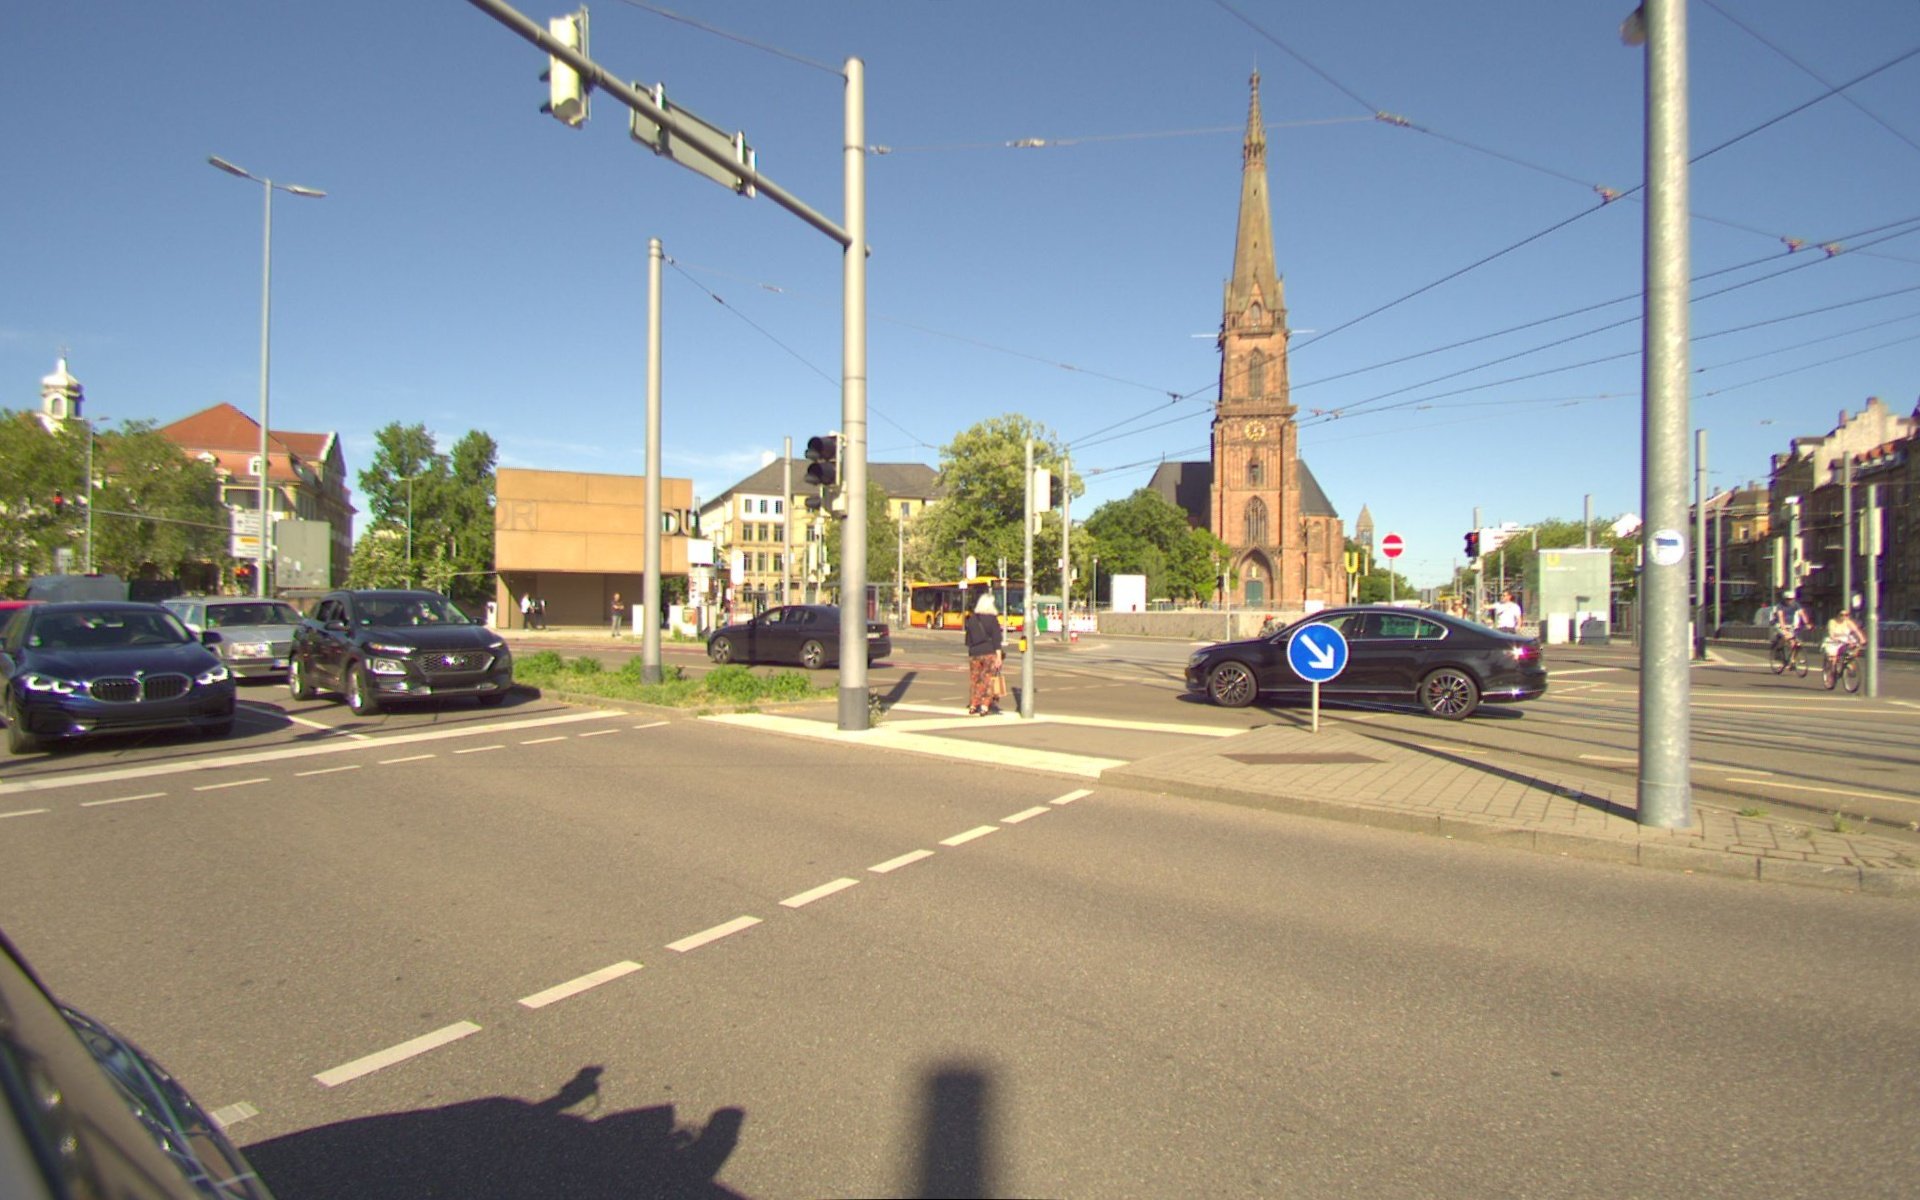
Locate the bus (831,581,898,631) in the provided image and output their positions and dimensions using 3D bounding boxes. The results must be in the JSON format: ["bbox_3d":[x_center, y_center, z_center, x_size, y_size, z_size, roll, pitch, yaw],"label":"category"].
[{"bbox_3d":[-6.368,0.430,66.290,2.104,3.069,8.586,-1,-1,-21],"label":"bus"}]

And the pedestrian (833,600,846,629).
[{"bbox_3d":[-7.898,0.936,66.189,0.679,1.875,0.731,-1,0,-19],"label":"pedestrian"}]

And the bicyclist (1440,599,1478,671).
[{"bbox_3d":[11.034,0.746,22.375,0.576,1.540,0.944,0,1,39],"label":"bicyclist"}]

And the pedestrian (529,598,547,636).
[{"bbox_3d":[-19.932,0.797,47.780,0.634,1.725,0.703,-1,0,-9],"label":"pedestrian"}]

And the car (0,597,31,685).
[{"bbox_3d":[-18.956,0.741,18.804,4.114,1.546,1.739,0,1,36],"label":"car"}]

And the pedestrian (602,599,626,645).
[{"bbox_3d":[-13.999,0.884,41.003,0.844,1.843,0.704,-1,0,-14],"label":"pedestrian"}]

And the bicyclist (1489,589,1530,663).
[{"bbox_3d":[11.879,0.550,21.873,0.595,1.561,0.983,0,-1,39],"label":"bicyclist"}]

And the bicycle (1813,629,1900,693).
[{"bbox_3d":[16.815,1.115,19.034,0.611,1.114,1.713,0,-1,19],"label":"bicycle"}]

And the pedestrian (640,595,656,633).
[{"bbox_3d":[-17.488,0.786,56.748,0.844,2.091,0.612,-1,0,-14],"label":"pedestrian"}]

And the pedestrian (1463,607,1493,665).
[{"bbox_3d":[14.907,1.013,29.119,0.608,1.620,0.705,0,0,41],"label":"pedestrian"}]

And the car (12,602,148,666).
[{"bbox_3d":[-22.520,0.799,25.834,4.655,1.469,1.802,0,1,38],"label":"car"}]

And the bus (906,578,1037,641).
[{"bbox_3d":[0.344,0.361,57.678,2.801,3.144,11.861,-1,2,-24],"label":"bus"}]

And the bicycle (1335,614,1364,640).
[{"bbox_3d":[19.766,1.373,51.364,1.476,1.279,0.366,-1,0,-18],"label":"bicycle"}]

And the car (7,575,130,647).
[{"bbox_3d":[-35.696,0.409,40.488,5.287,2.701,2.220,0,1,32],"label":"car"}]

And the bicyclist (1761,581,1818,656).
[{"bbox_3d":[19.108,0.421,23.330,0.754,1.688,0.790,0,-1,19],"label":"bicyclist"}]

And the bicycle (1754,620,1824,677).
[{"bbox_3d":[19.160,1.090,23.445,0.611,1.266,1.951,0,-1,19],"label":"bicycle"}]

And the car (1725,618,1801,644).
[{"bbox_3d":[44.255,1.685,55.868,1.897,1.371,3.978,-1,-1,16],"label":"car"}]

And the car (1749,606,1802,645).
[{"bbox_3d":[68.493,2.092,85.086,1.985,3.130,4.890,-1,1,20],"label":"car"}]

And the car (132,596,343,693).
[{"bbox_3d":[-12.778,0.694,17.792,4.655,1.469,1.802,0,1,38],"label":"car"}]

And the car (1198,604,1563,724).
[{"bbox_3d":[5.759,0.783,14.035,4.466,1.427,1.832,0,-1,32],"label":"car"}]

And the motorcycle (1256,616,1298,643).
[{"bbox_3d":[15.488,1.420,49.427,2.070,1.263,0.536,-1,0,-23],"label":"motorcycle"}]

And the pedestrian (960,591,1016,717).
[{"bbox_3d":[0.359,0.677,12.988,0.367,1.567,0.645,-1,0,-41],"label":"pedestrian"}]

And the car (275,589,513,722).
[{"bbox_3d":[-7.759,0.644,13.730,3.914,1.543,1.664,0,1,42],"label":"car"}]

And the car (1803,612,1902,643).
[{"bbox_3d":[41.602,1.275,47.302,1.897,1.371,3.978,-1,-1,16],"label":"car"}]

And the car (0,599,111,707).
[{"bbox_3d":[-14.500,0.740,15.464,4.010,1.469,1.692,0,1,40],"label":"car"}]

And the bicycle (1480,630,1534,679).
[{"bbox_3d":[11.900,1.158,21.983,0.615,0.997,2.445,0,-1,38],"label":"bicycle"}]

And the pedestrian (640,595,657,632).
[{"bbox_3d":[-17.803,0.793,57.873,0.844,2.091,0.612,-1,0,-14],"label":"pedestrian"}]

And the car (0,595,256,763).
[{"bbox_3d":[-9.324,0.699,10.963,4.010,1.469,1.862,0,1,41],"label":"car"}]

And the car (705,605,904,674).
[{"bbox_3d":[-3.686,0.850,23.628,4.635,1.469,1.865,0,0,35],"label":"car"}]

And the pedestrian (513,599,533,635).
[{"bbox_3d":[-20.807,0.803,48.196,0.738,1.725,0.703,-1,0,-9],"label":"pedestrian"}]

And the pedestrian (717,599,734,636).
[{"bbox_3d":[-12.288,0.919,53.007,0.844,1.895,0.695,-1,0,-14],"label":"pedestrian"}]

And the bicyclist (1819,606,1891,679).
[{"bbox_3d":[16.818,0.782,19.047,0.754,1.332,0.790,0,-1,20],"label":"bicyclist"}]
